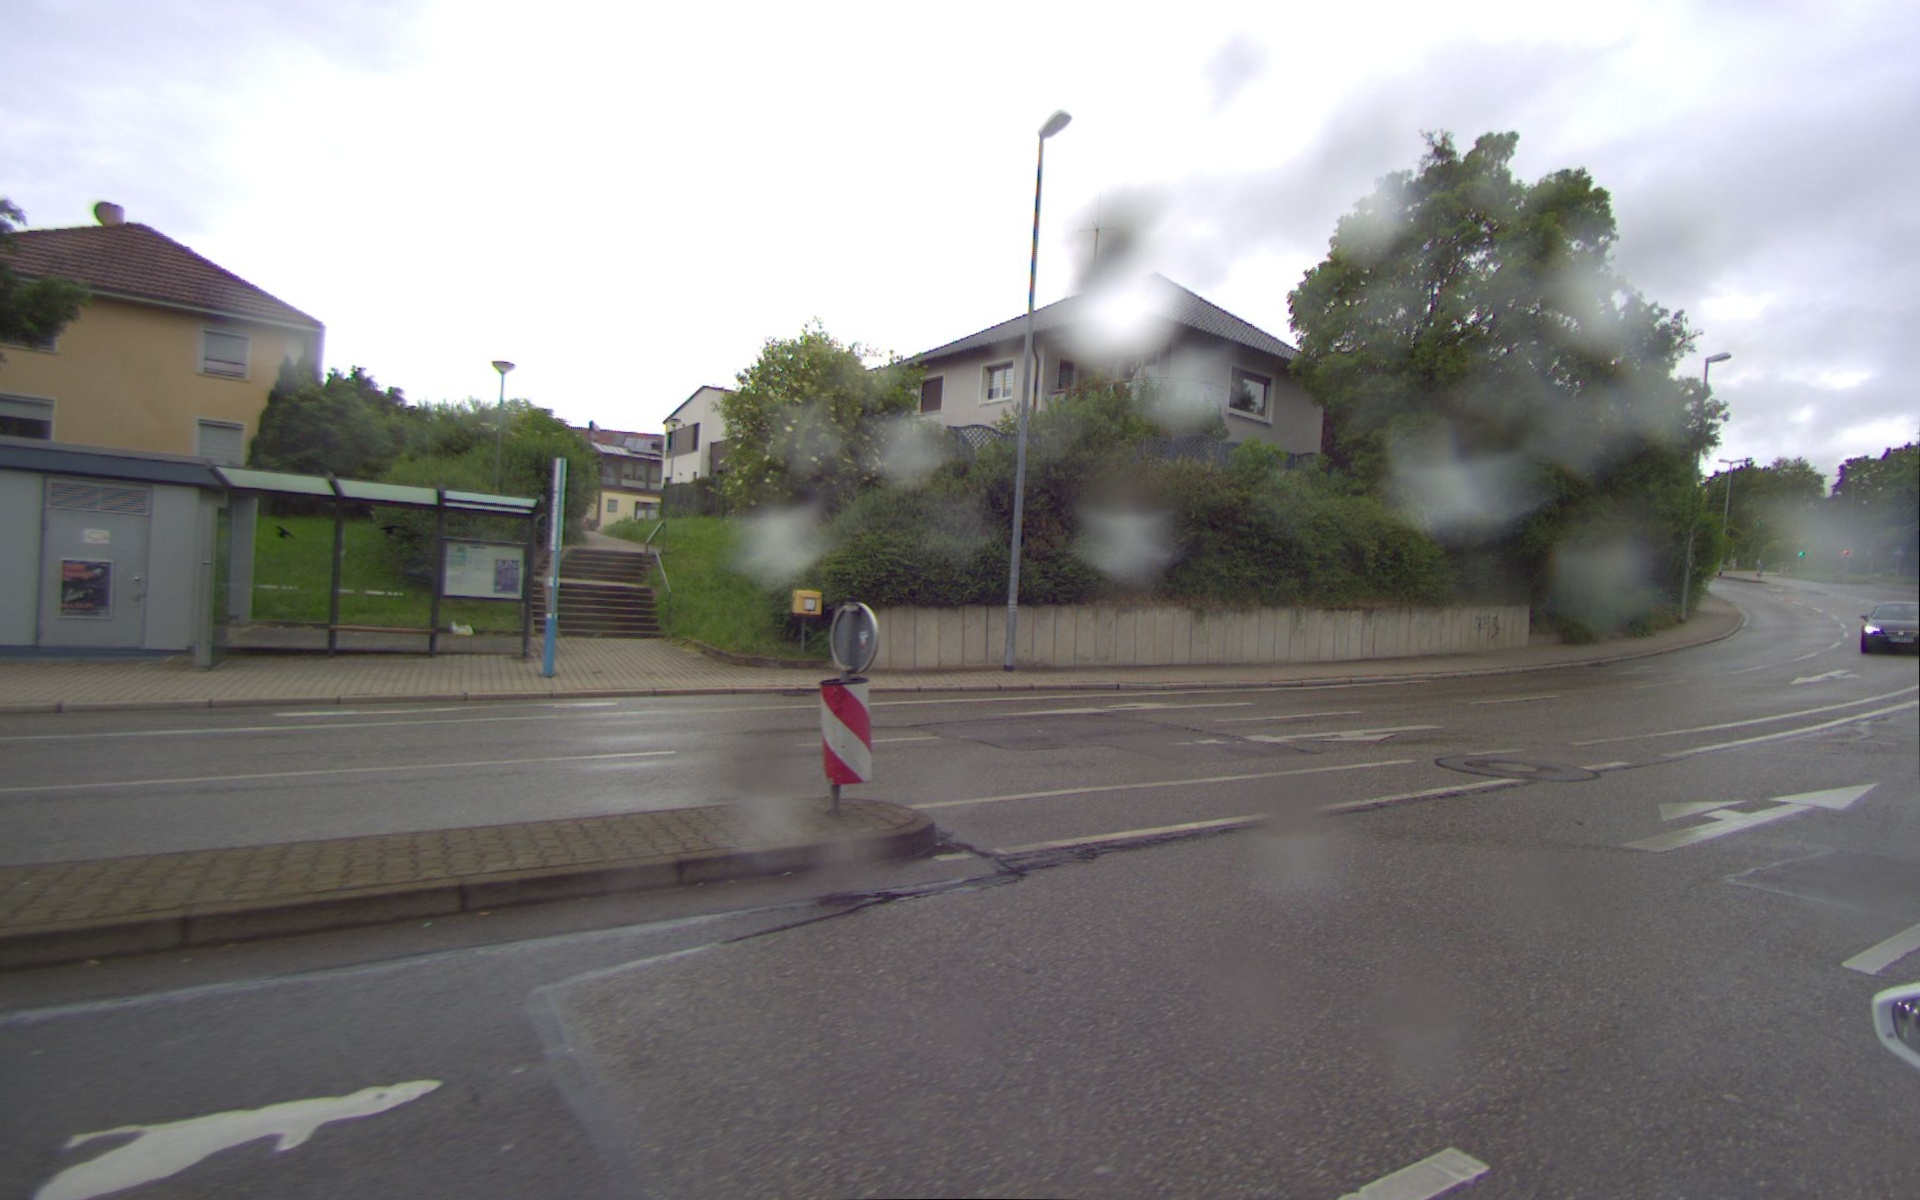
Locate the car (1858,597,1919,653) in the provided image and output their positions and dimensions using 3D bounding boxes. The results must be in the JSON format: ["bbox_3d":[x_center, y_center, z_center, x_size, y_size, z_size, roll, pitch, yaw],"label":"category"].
[{"bbox_3d":[27.829,0.720,29.374,4.201,1.507,1.875,1,0,-42],"label":"car"}]

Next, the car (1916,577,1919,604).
[{"bbox_3d":[59.907,-0.560,60.896,1.824,1.684,3.993,3,1,29],"label":"car"}]
